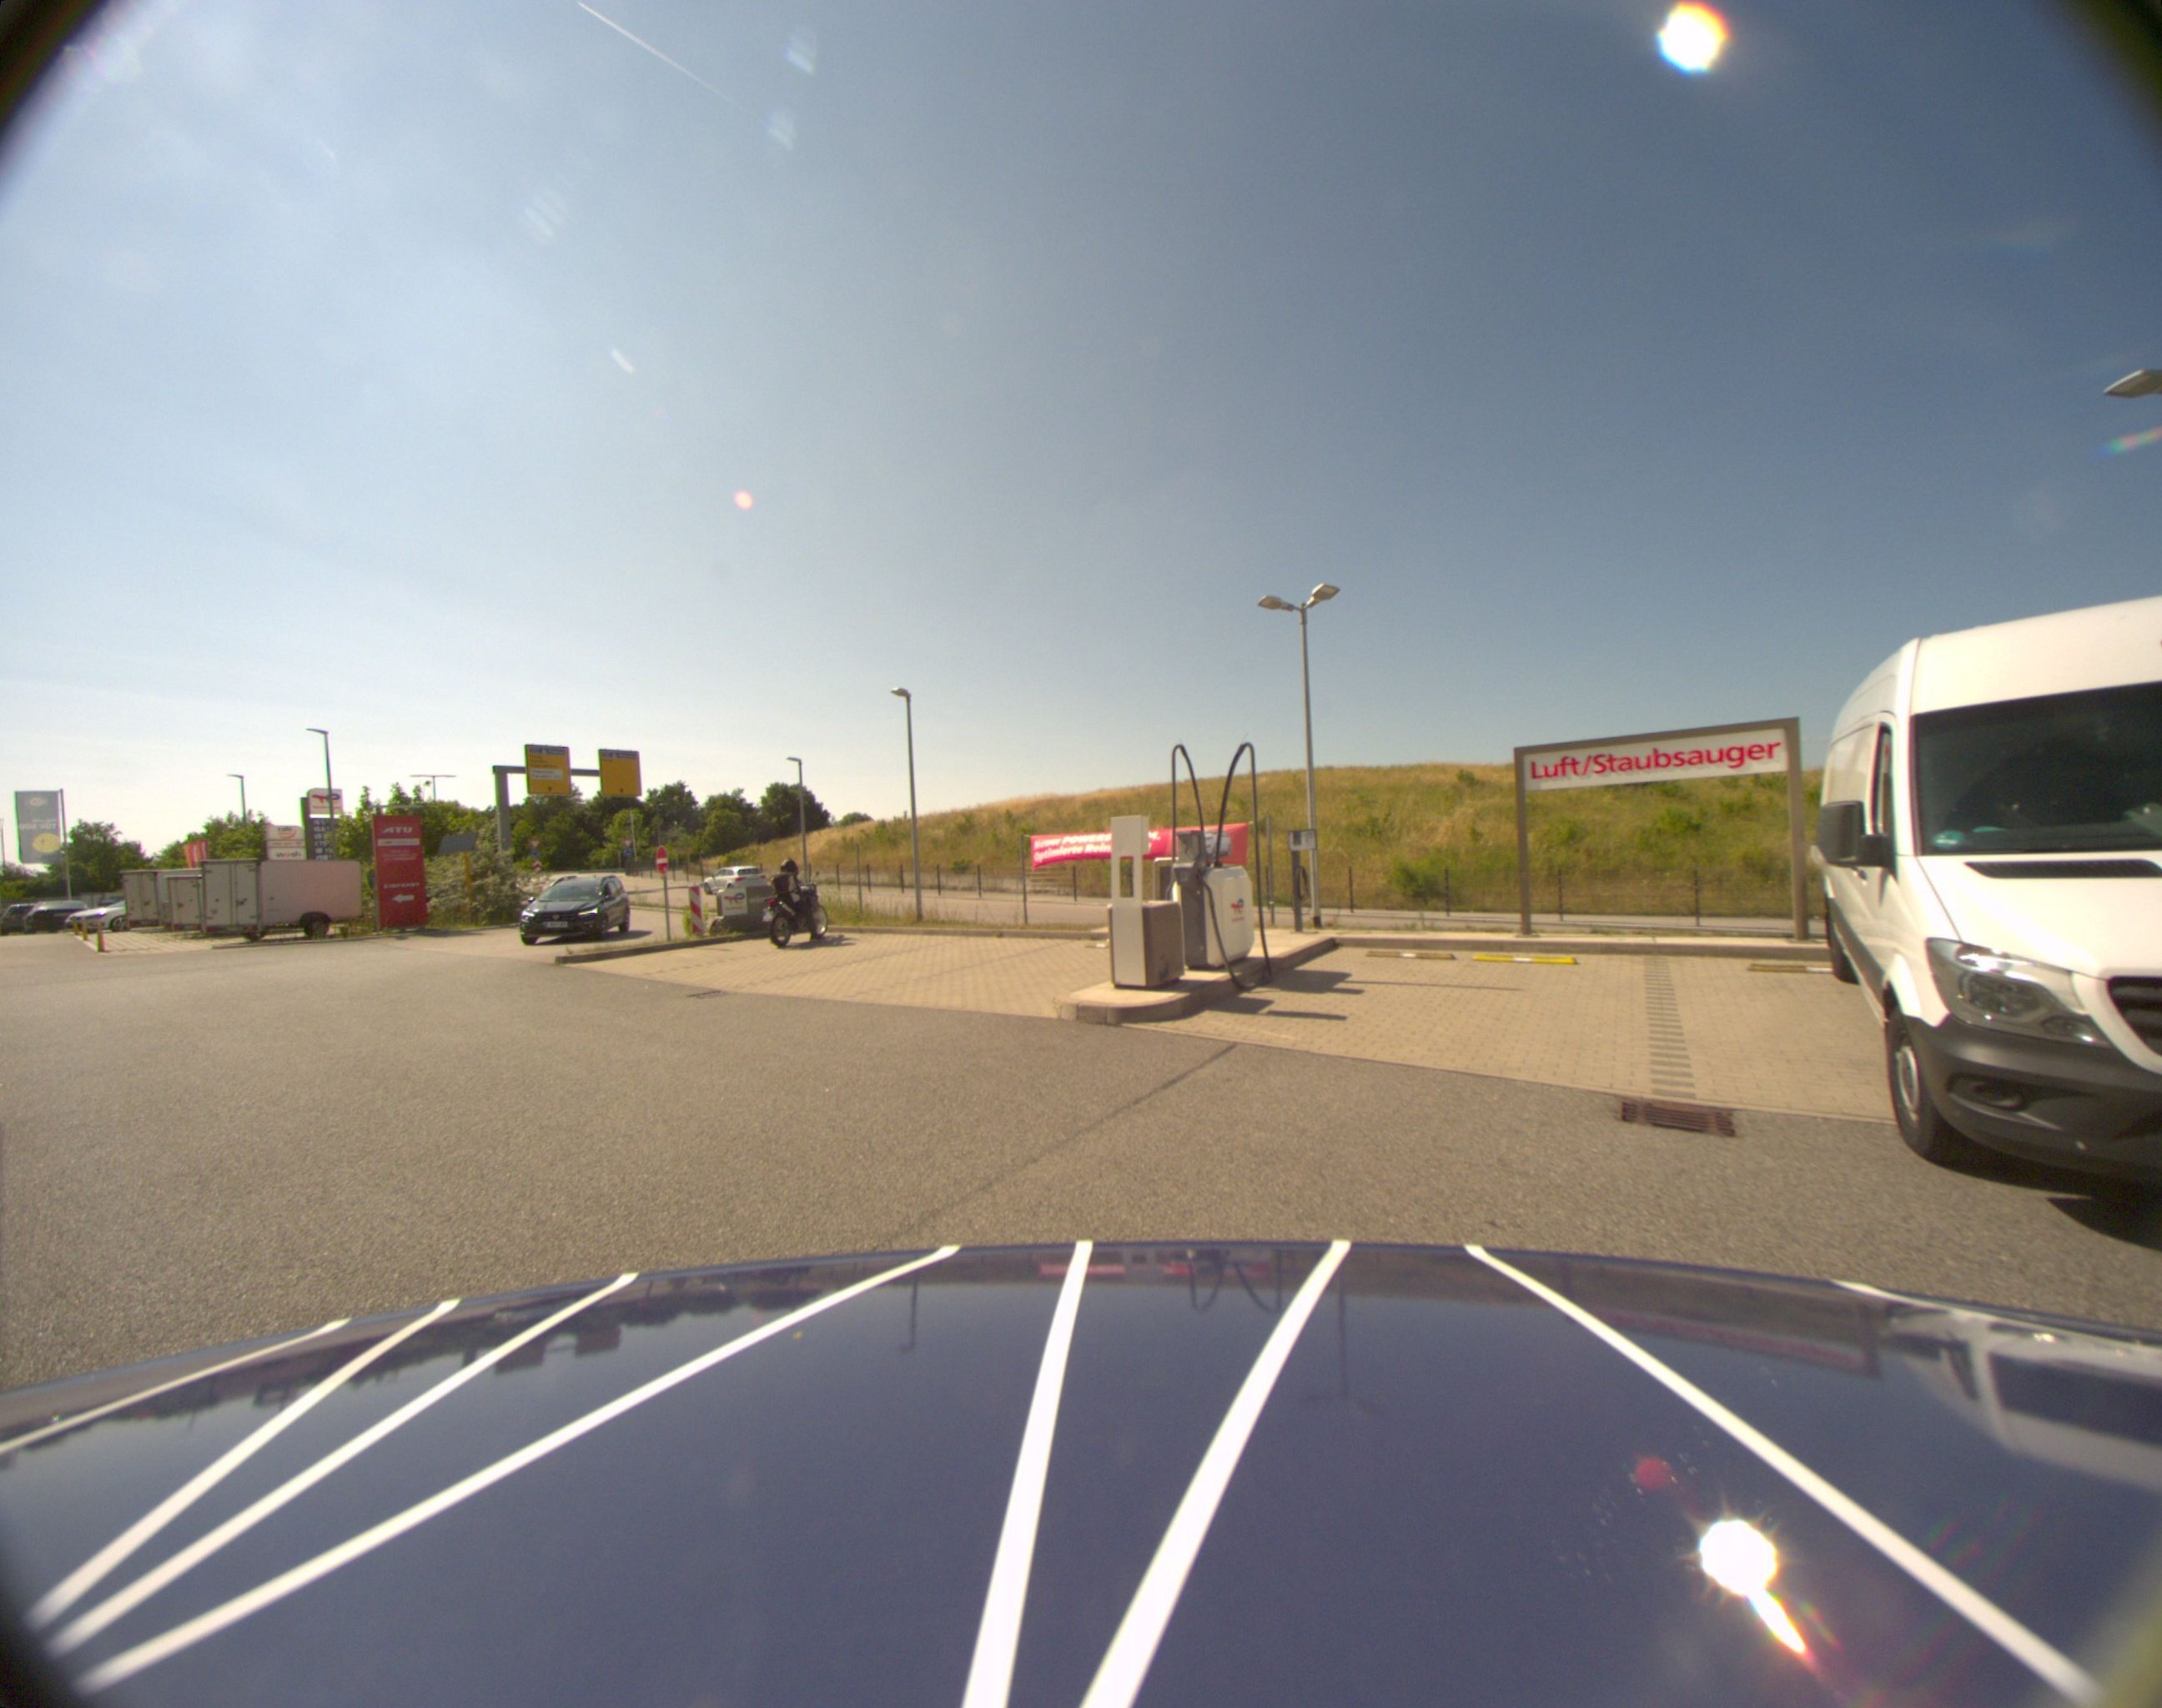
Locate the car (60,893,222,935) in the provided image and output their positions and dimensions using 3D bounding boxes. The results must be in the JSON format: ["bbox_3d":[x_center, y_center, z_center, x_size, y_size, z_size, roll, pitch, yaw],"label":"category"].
[{"bbox_3d":[-38.029,2.395,30.896,1.680,1.310,3.836,-2,0,3],"label":"car"}]

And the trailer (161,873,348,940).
[{"bbox_3d":[-28.737,1.746,26.614,1.800,2.002,4.003,-2,0,11],"label":"trailer"}]

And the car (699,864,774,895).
[{"bbox_3d":[-17.584,1.250,38.692,4.083,1.415,1.710,0,1,38],"label":"car"}]

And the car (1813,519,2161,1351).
[{"bbox_3d":[6.009,0.039,4.603,1.994,2.557,7.042,-2,3,42],"label":"car"}]

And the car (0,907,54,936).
[{"bbox_3d":[-55.102,3.479,39.674,3.715,1.295,1.685,-3,0,37],"label":"car"}]

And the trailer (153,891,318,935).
[{"bbox_3d":[-31.015,2.134,28.032,1.576,1.273,3.722,-2,0,11],"label":"trailer"}]

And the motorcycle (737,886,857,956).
[{"bbox_3d":[-5.546,1.286,15.065,1.044,1.099,2.417,-2,1,11],"label":"motorcycle"}]

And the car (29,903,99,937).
[{"bbox_3d":[-46.070,2.968,34.400,3.825,1.310,1.685,-2,0,34],"label":"car"}]

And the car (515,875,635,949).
[{"bbox_3d":[-13.579,1.460,20.680,1.745,1.635,4.624,-2,0,-22],"label":"car"}]

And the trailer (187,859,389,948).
[{"bbox_3d":[-24.245,1.419,23.501,1.999,2.413,3.999,-2,0,-2],"label":"trailer"}]

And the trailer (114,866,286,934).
[{"bbox_3d":[-35.538,1.786,30.821,1.997,2.413,4.002,-2,0,9],"label":"trailer"}]

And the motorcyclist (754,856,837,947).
[{"bbox_3d":[-5.586,0.900,14.916,1.033,1.678,1.100,-2,1,11],"label":"motorcyclist"}]
